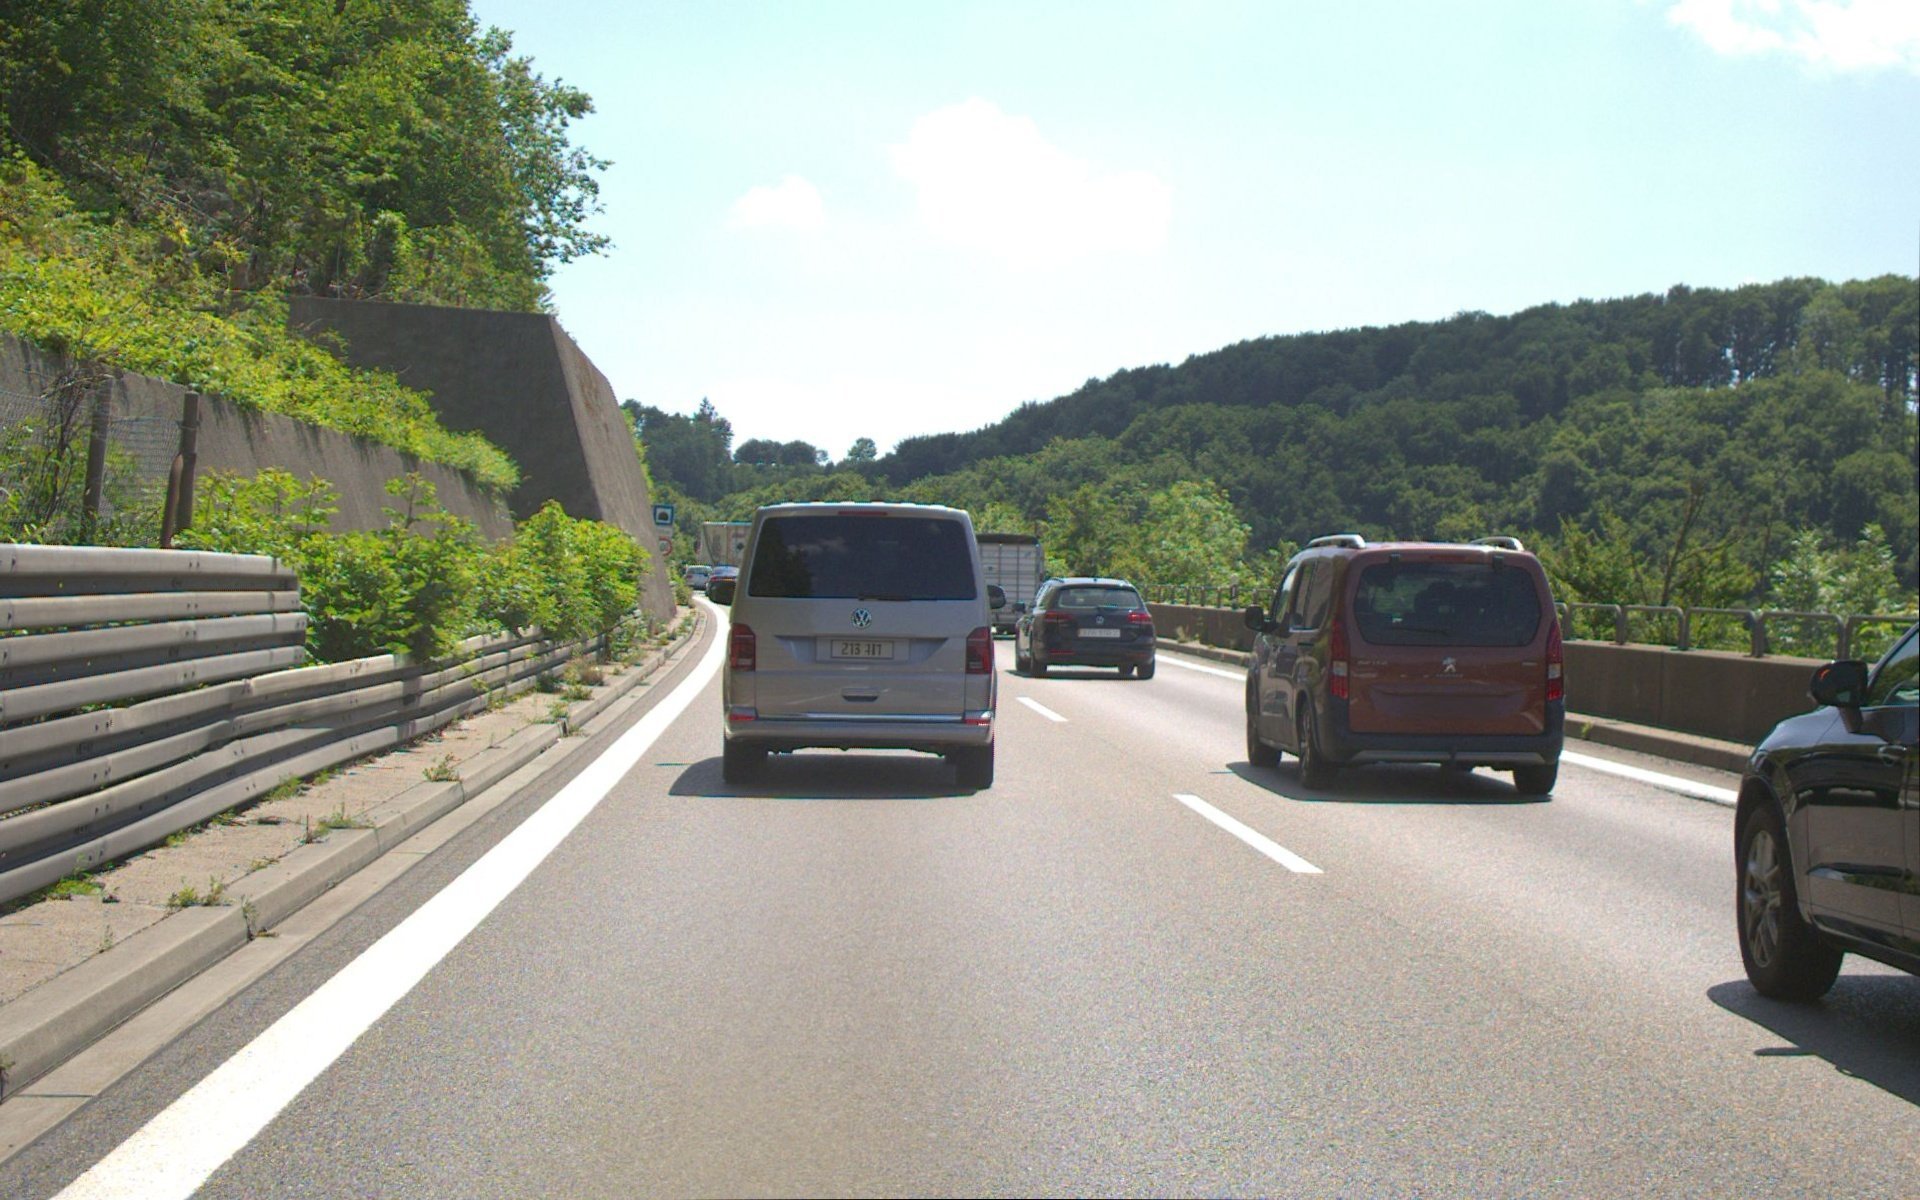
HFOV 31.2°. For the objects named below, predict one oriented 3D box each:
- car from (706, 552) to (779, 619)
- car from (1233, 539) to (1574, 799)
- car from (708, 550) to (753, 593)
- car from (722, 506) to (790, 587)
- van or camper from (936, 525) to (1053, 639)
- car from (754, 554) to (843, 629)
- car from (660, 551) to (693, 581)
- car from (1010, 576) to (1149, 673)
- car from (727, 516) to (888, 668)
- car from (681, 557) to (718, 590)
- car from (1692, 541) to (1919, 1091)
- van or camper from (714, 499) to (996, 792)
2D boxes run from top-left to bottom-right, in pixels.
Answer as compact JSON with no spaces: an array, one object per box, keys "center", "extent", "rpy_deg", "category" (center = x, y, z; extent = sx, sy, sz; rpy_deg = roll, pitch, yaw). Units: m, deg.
[{"center":[-6.522,-0.445,103.250],"extent":[1.993,1.908,4.000],"rpy_deg":[1,0,-1],"category":"car"},{"center":[3.214,0.472,25.817],"extent":[1.833,1.778,4.676],"rpy_deg":[0,0,-2],"category":"car"},{"center":[-10.936,-1.355,164.000],"extent":[1.993,2.007,4.000],"rpy_deg":[0,0,-2],"category":"car"},{"center":[-12.661,-3.310,212.822],"extent":[4.043,4.855,10.110],"rpy_deg":[1,1,-4],"category":"car"},{"center":[0.745,-0.415,78.565],"extent":[2.263,2.542,4.737],"rpy_deg":[0,0,-4],"category":"van or camper"},{"center":[-4.121,-0.236,87.185],"extent":[1.993,1.811,4.001],"rpy_deg":[1,0,-6],"category":"car"},{"center":[-16.860,-2.000,204.085],"extent":[1.845,1.744,4.001],"rpy_deg":[1,1,-6],"category":"car"},{"center":[1.717,0.334,50.557],"extent":[1.768,1.371,3.593],"rpy_deg":[0,1,-2],"category":"car"},{"center":[-2.054,-0.116,47.413],"extent":[1.993,2.007,4.000],"rpy_deg":[0,0,1],"category":"car"},{"center":[-13.767,-1.410,182.103],"extent":[1.845,1.744,4.001],"rpy_deg":[1,1,-3],"category":"car"},{"center":[3.813,0.661,10.889],"extent":[1.834,1.627,4.663],"rpy_deg":[0,2,-2],"category":"car"},{"center":[-0.760,0.303,24.985],"extent":[1.875,1.943,4.294],"rpy_deg":[0,0,-2],"category":"van or camper"}]
